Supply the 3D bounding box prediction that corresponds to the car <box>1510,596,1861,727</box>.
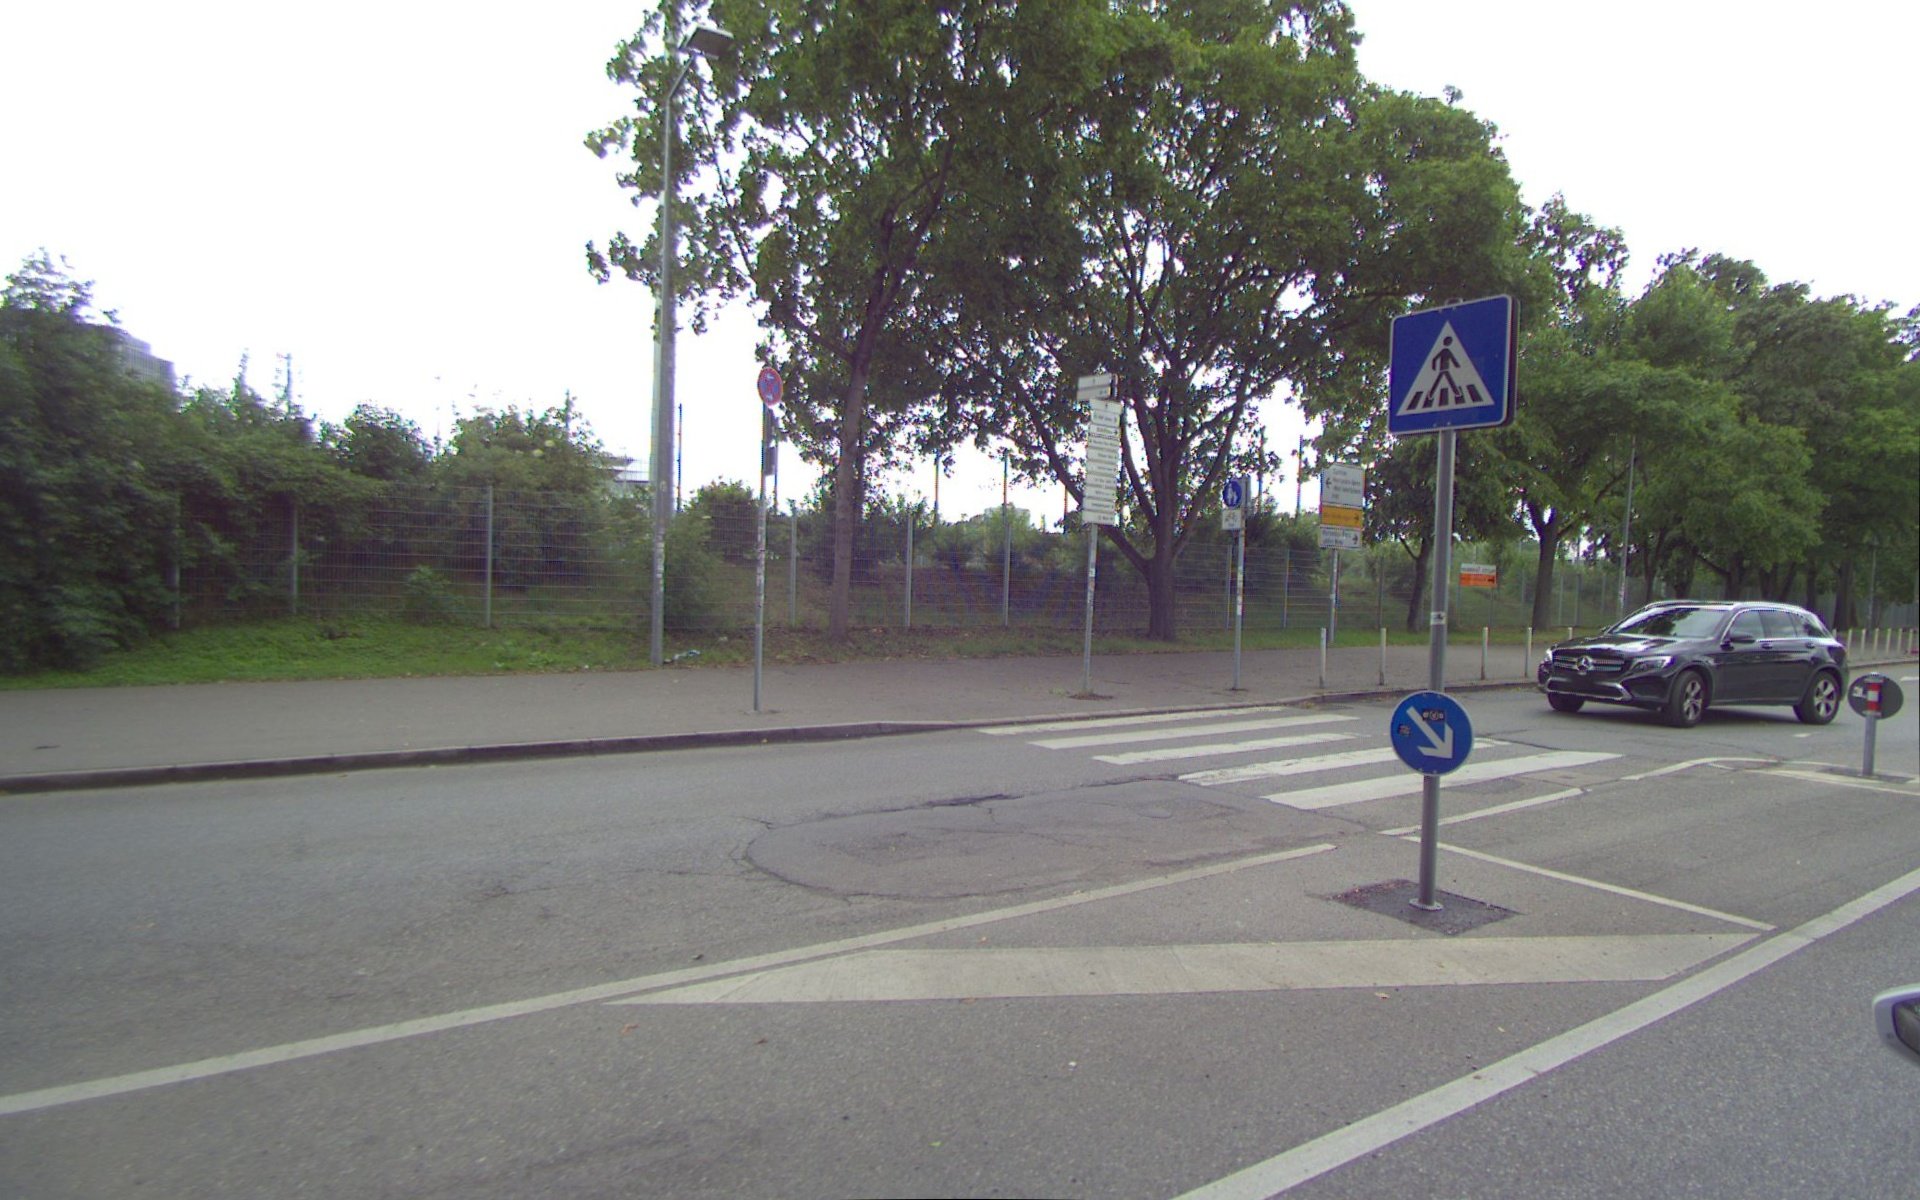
[{"bbox_3d":[10.229,0.810,14.175,4.482,1.595,1.836,1,1,-21],"label":"car"}]
